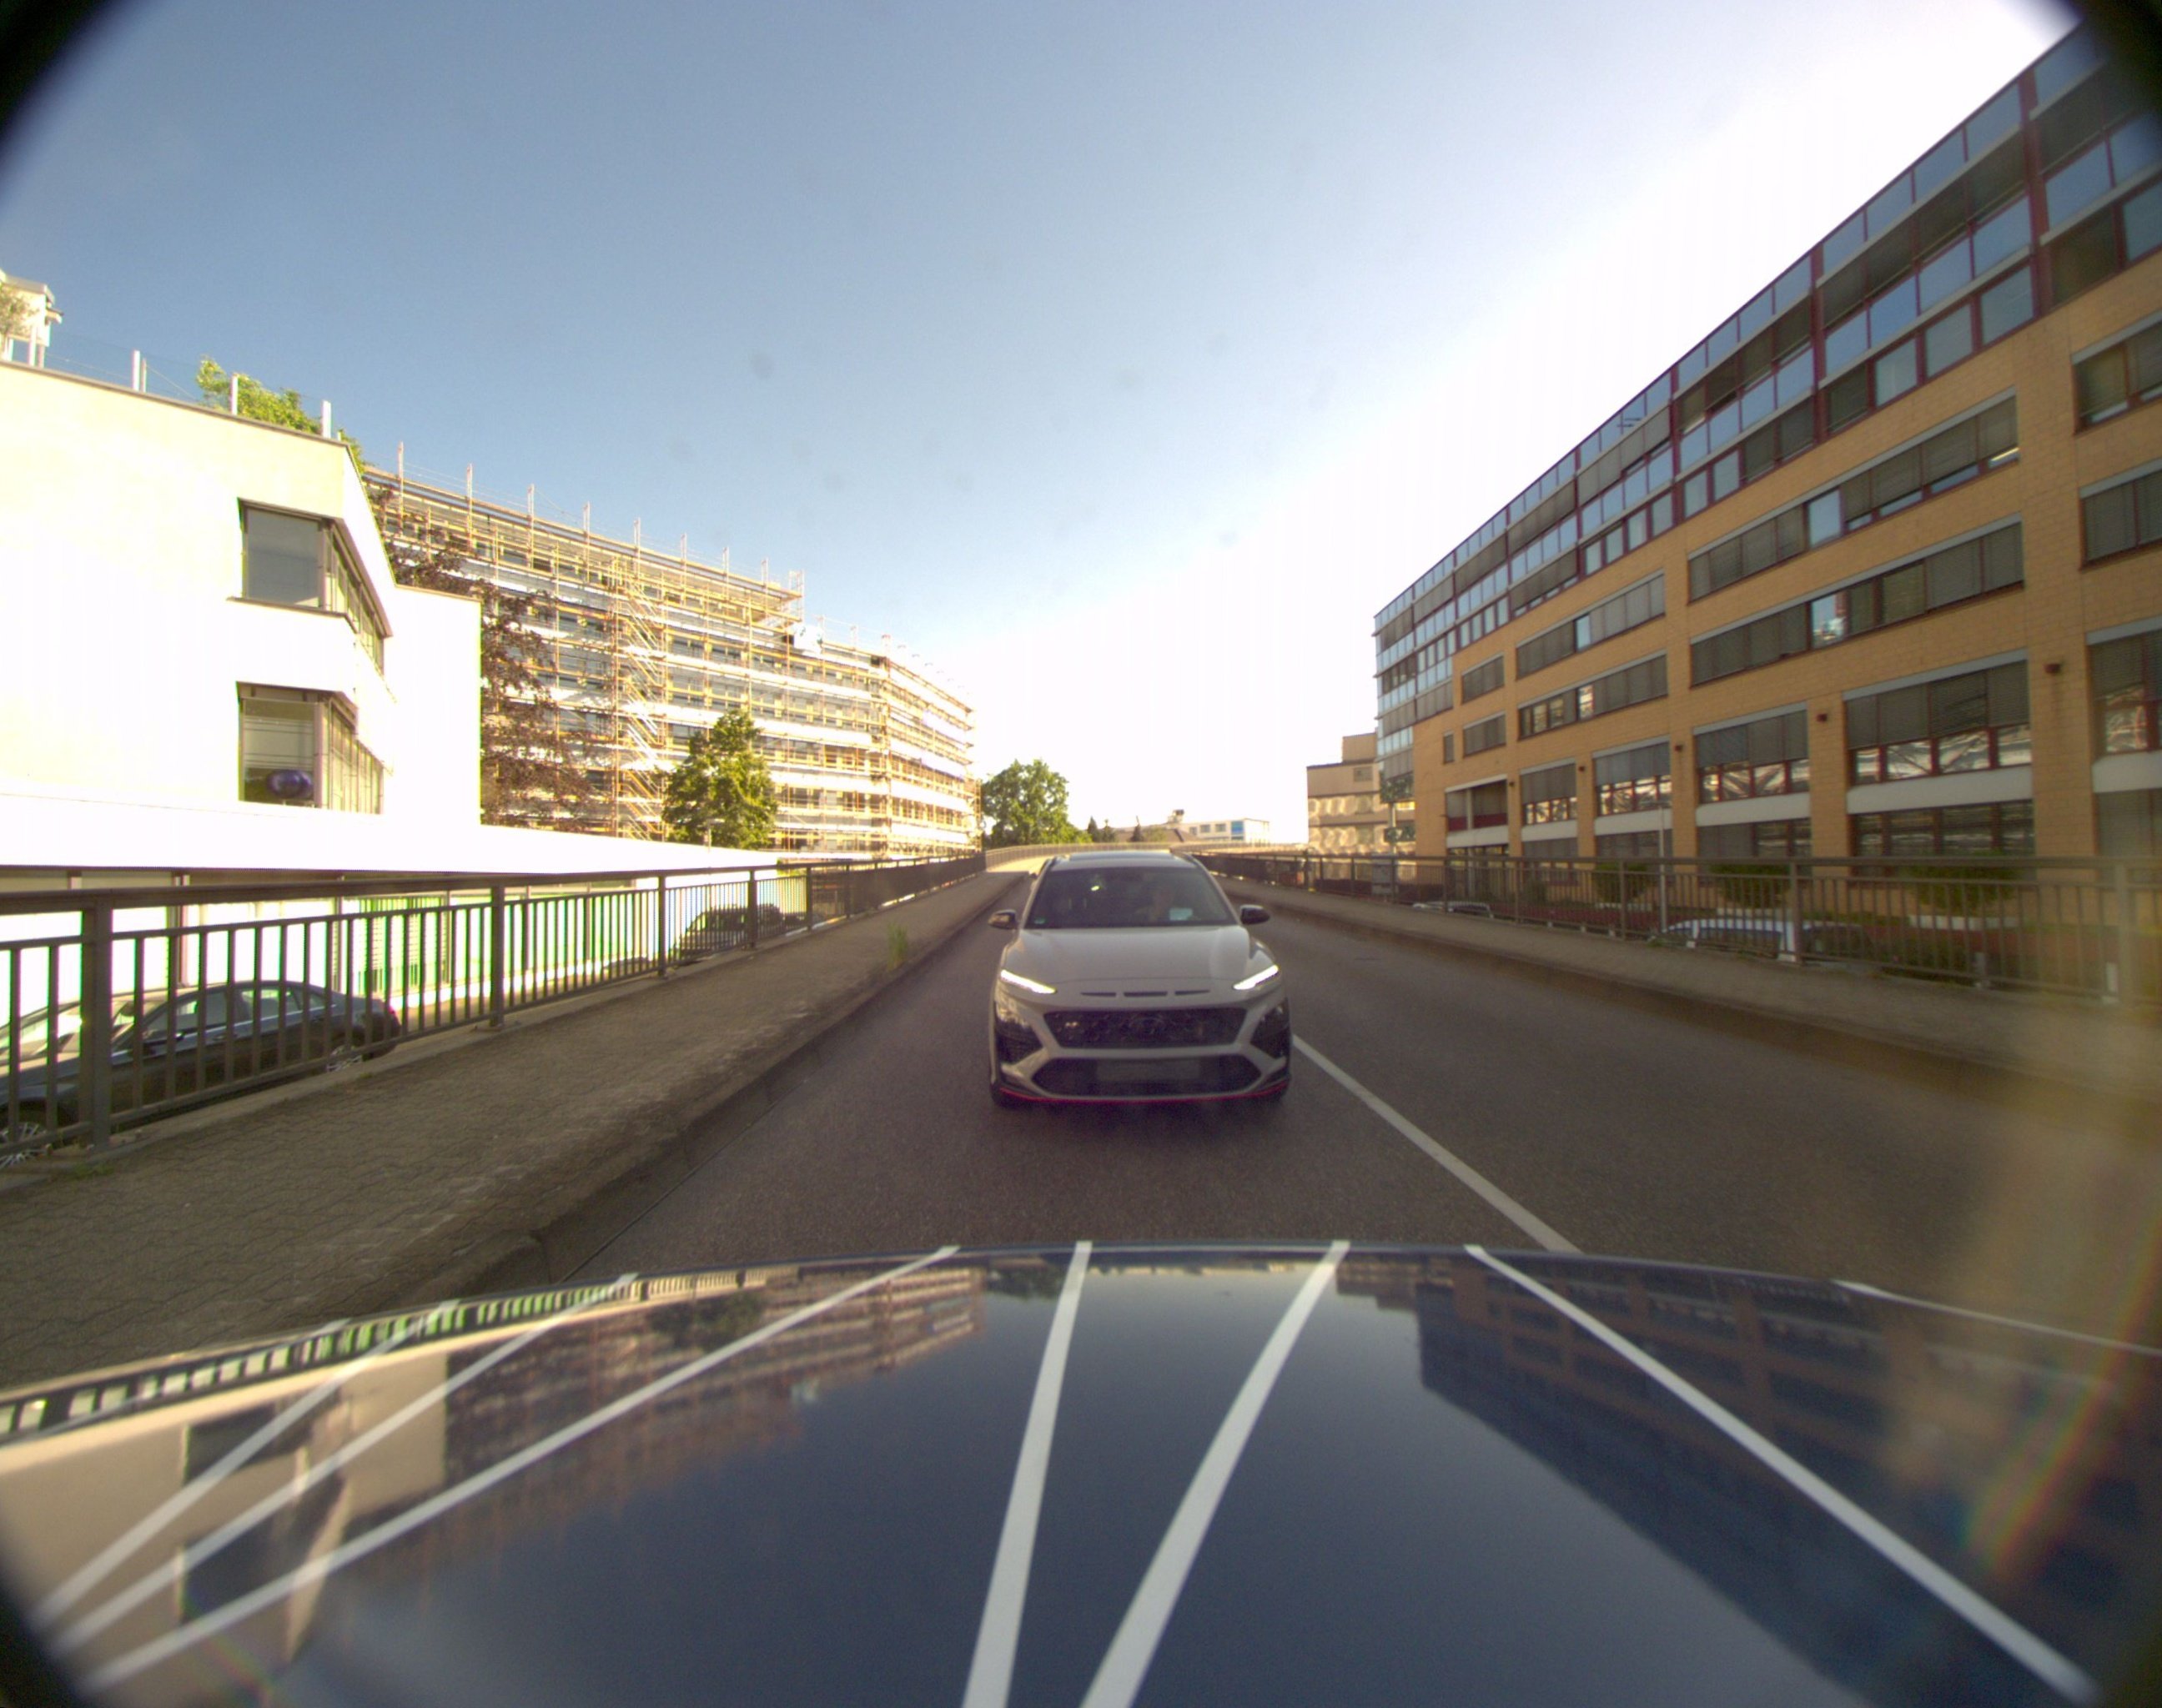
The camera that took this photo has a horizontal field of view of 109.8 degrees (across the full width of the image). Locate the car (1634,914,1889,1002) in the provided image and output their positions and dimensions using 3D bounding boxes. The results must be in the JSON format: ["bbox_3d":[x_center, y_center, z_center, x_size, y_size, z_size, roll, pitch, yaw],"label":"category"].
[{"bbox_3d":[13.047,1.939,14.919,1.580,1.261,3.809,0,-1,-1],"label":"car"}]

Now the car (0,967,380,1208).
[{"bbox_3d":[-9.599,2.155,7.414,1.726,1.513,4.001,-2,-1,1],"label":"car"}]

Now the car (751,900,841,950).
[{"bbox_3d":[-10.091,2.484,27.213,1.726,1.383,4.000,-2,-1,-1],"label":"car"}]

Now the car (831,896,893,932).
[{"bbox_3d":[-10.214,2.779,35.674,1.726,1.383,4.000,-2,-1,-1],"label":"car"}]

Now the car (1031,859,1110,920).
[{"bbox_3d":[-0.293,0.865,20.357,1.902,1.433,4.126,0,0,-1],"label":"car"}]

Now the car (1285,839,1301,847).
[{"bbox_3d":[43.516,-2.308,155.613,1.947,1.456,4.008,5,3,33],"label":"car"}]

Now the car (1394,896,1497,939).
[{"bbox_3d":[12.740,2.195,26.826,1.766,1.261,3.809,0,-1,-1],"label":"car"}]

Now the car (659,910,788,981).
[{"bbox_3d":[-9.909,2.477,21.425,1.726,1.513,4.000,-2,-1,-1],"label":"car"}]

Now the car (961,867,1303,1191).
[{"bbox_3d":[0.287,0.929,5.890,1.749,1.637,4.001,0,-1,1],"label":"car"}]
